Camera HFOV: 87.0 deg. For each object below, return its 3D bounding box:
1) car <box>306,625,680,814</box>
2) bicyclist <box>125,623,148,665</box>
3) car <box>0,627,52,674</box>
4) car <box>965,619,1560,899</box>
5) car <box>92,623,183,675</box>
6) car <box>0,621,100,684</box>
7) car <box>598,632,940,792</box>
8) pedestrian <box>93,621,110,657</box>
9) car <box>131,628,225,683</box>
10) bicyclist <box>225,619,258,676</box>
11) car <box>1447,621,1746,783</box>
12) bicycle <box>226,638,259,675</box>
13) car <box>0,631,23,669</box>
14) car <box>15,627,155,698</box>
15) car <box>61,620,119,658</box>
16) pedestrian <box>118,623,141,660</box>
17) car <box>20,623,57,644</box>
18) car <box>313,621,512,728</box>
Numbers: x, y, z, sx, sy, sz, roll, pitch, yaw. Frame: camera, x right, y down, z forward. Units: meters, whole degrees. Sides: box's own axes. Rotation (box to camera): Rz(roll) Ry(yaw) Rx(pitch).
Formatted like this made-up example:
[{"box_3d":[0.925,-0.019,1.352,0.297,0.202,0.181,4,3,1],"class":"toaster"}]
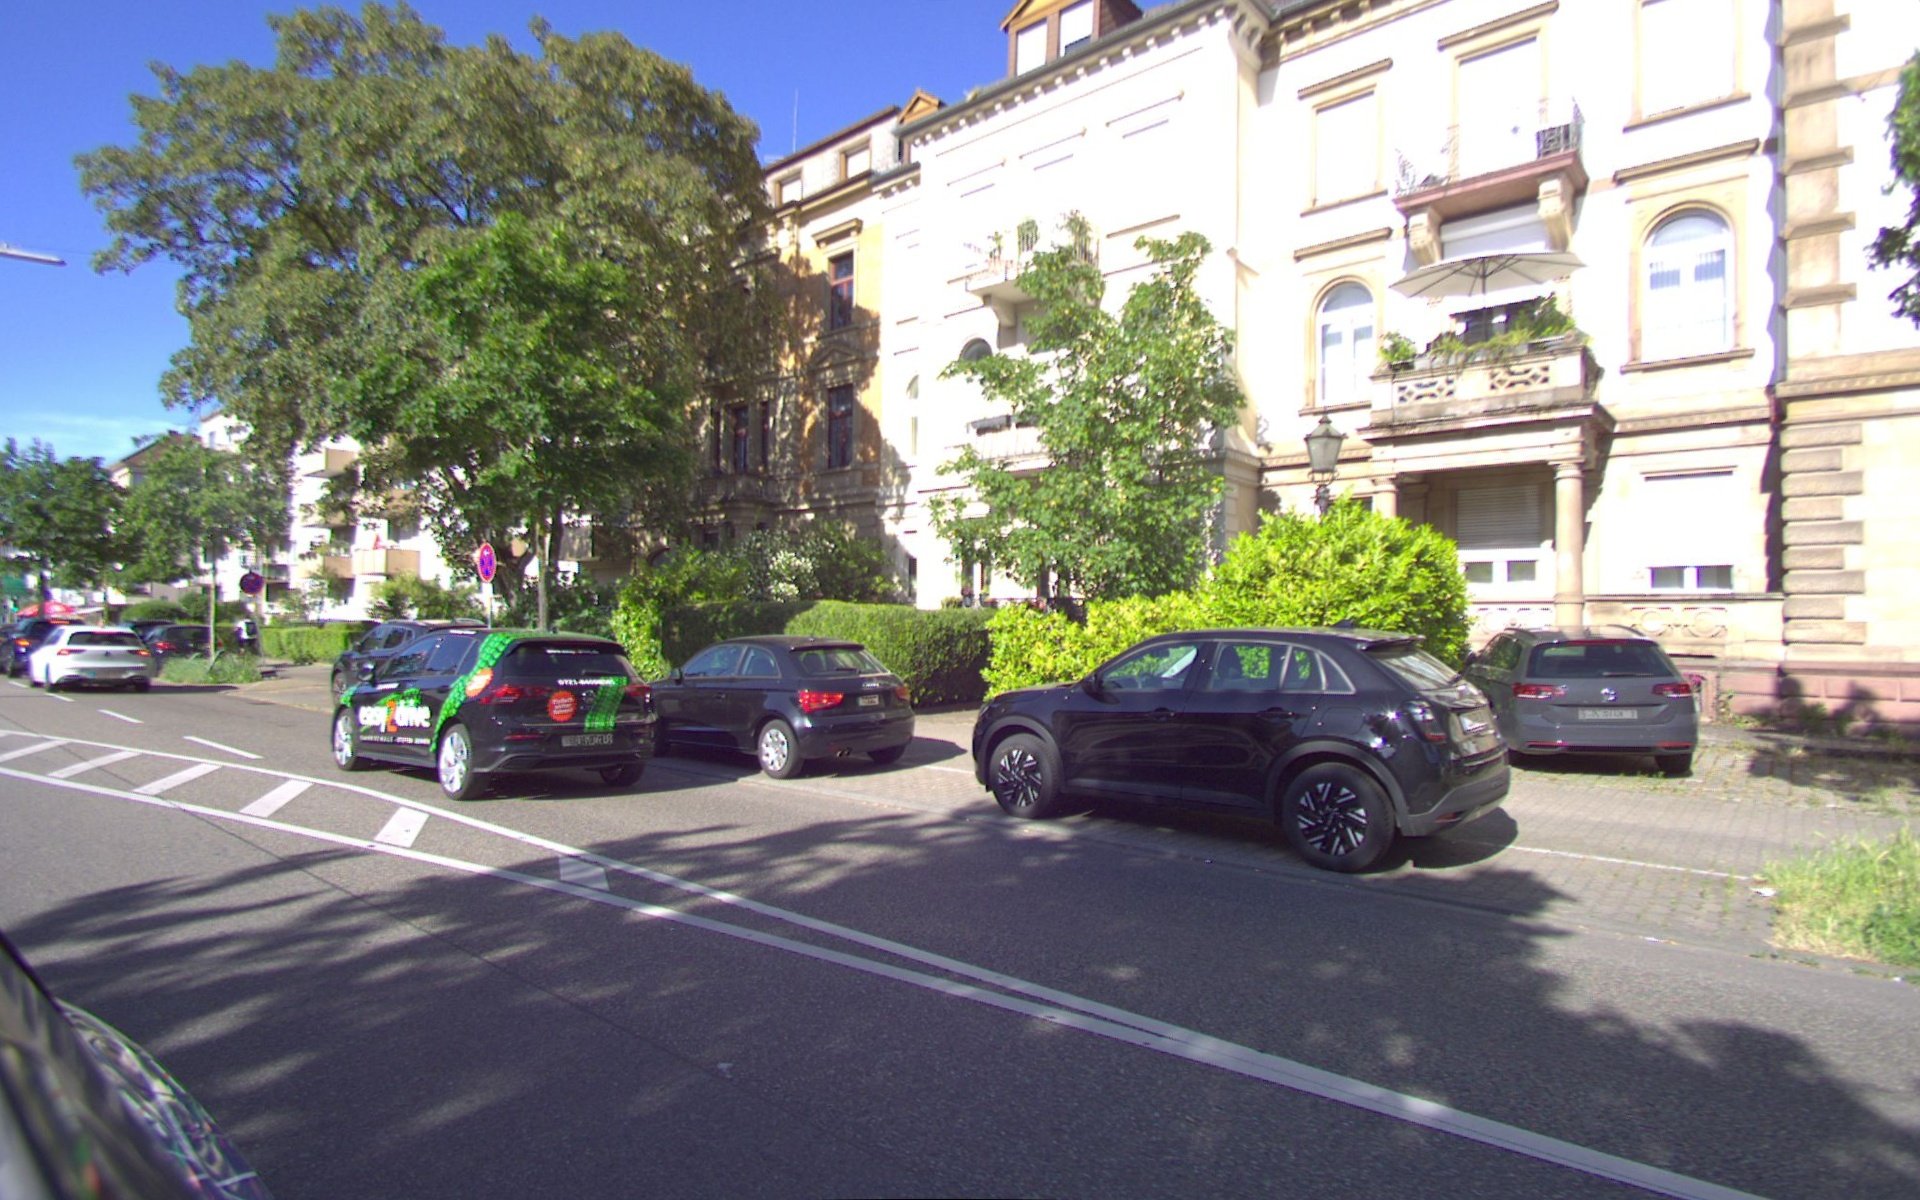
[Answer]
[{"box_3d":[-4.689,1.023,9.894,4.170,1.465,1.674,-1,-5,40],"class":"car"},{"box_3d":[-34.610,1.844,42.552,0.691,1.767,0.602,-1,-3,41],"class":"bicyclist"},{"box_3d":[-30.772,1.605,32.642,3.740,1.463,1.565,-1,-3,39],"class":"car"},{"box_3d":[2.073,0.944,7.677,4.007,1.566,1.660,-2,-2,42],"class":"car"},{"box_3d":[-27.307,1.578,33.572,4.392,1.617,1.652,-1,-1,42],"class":"car"},{"box_3d":[-25.544,1.446,28.080,4.398,1.626,1.817,-1,-5,41],"class":"car"},{"box_3d":[-2.288,1.113,11.451,4.087,1.427,1.620,-1,0,41],"class":"car"},{"box_3d":[-39.257,1.774,46.282,0.719,1.663,0.464,-1,-2,42],"class":"pedestrian"},{"box_3d":[-23.081,1.584,29.826,3.931,1.488,1.584,-1,-1,43],"class":"car"},{"box_3d":[-23.229,1.520,32.725,1.207,1.780,0.576,-1,0,40],"class":"bicyclist"},{"box_3d":[6.917,1.002,11.493,1.616,1.500,3.904,-1,-1,13],"class":"car"},{"box_3d":[-23.174,1.818,32.697,1.763,1.124,0.444,-1,0,41],"class":"bicycle"},{"box_3d":[-37.038,1.856,38.428,3.732,1.414,1.618,-1,-4,40],"class":"car"},{"box_3d":[-19.513,1.362,22.509,4.190,1.423,1.715,-1,-5,41],"class":"car"},{"box_3d":[-36.326,1.603,42.244,3.684,1.501,1.386,-2,-2,42],"class":"car"},{"box_3d":[-38.831,1.951,47.313,0.929,1.699,0.662,-2,-2,40],"class":"pedestrian"},{"box_3d":[-74.054,2.701,81.305,4.303,1.635,1.742,-1,-2,42],"class":"car"},{"box_3d":[-9.624,1.202,17.640,4.345,1.600,1.608,-1,-1,40],"class":"car"}]
